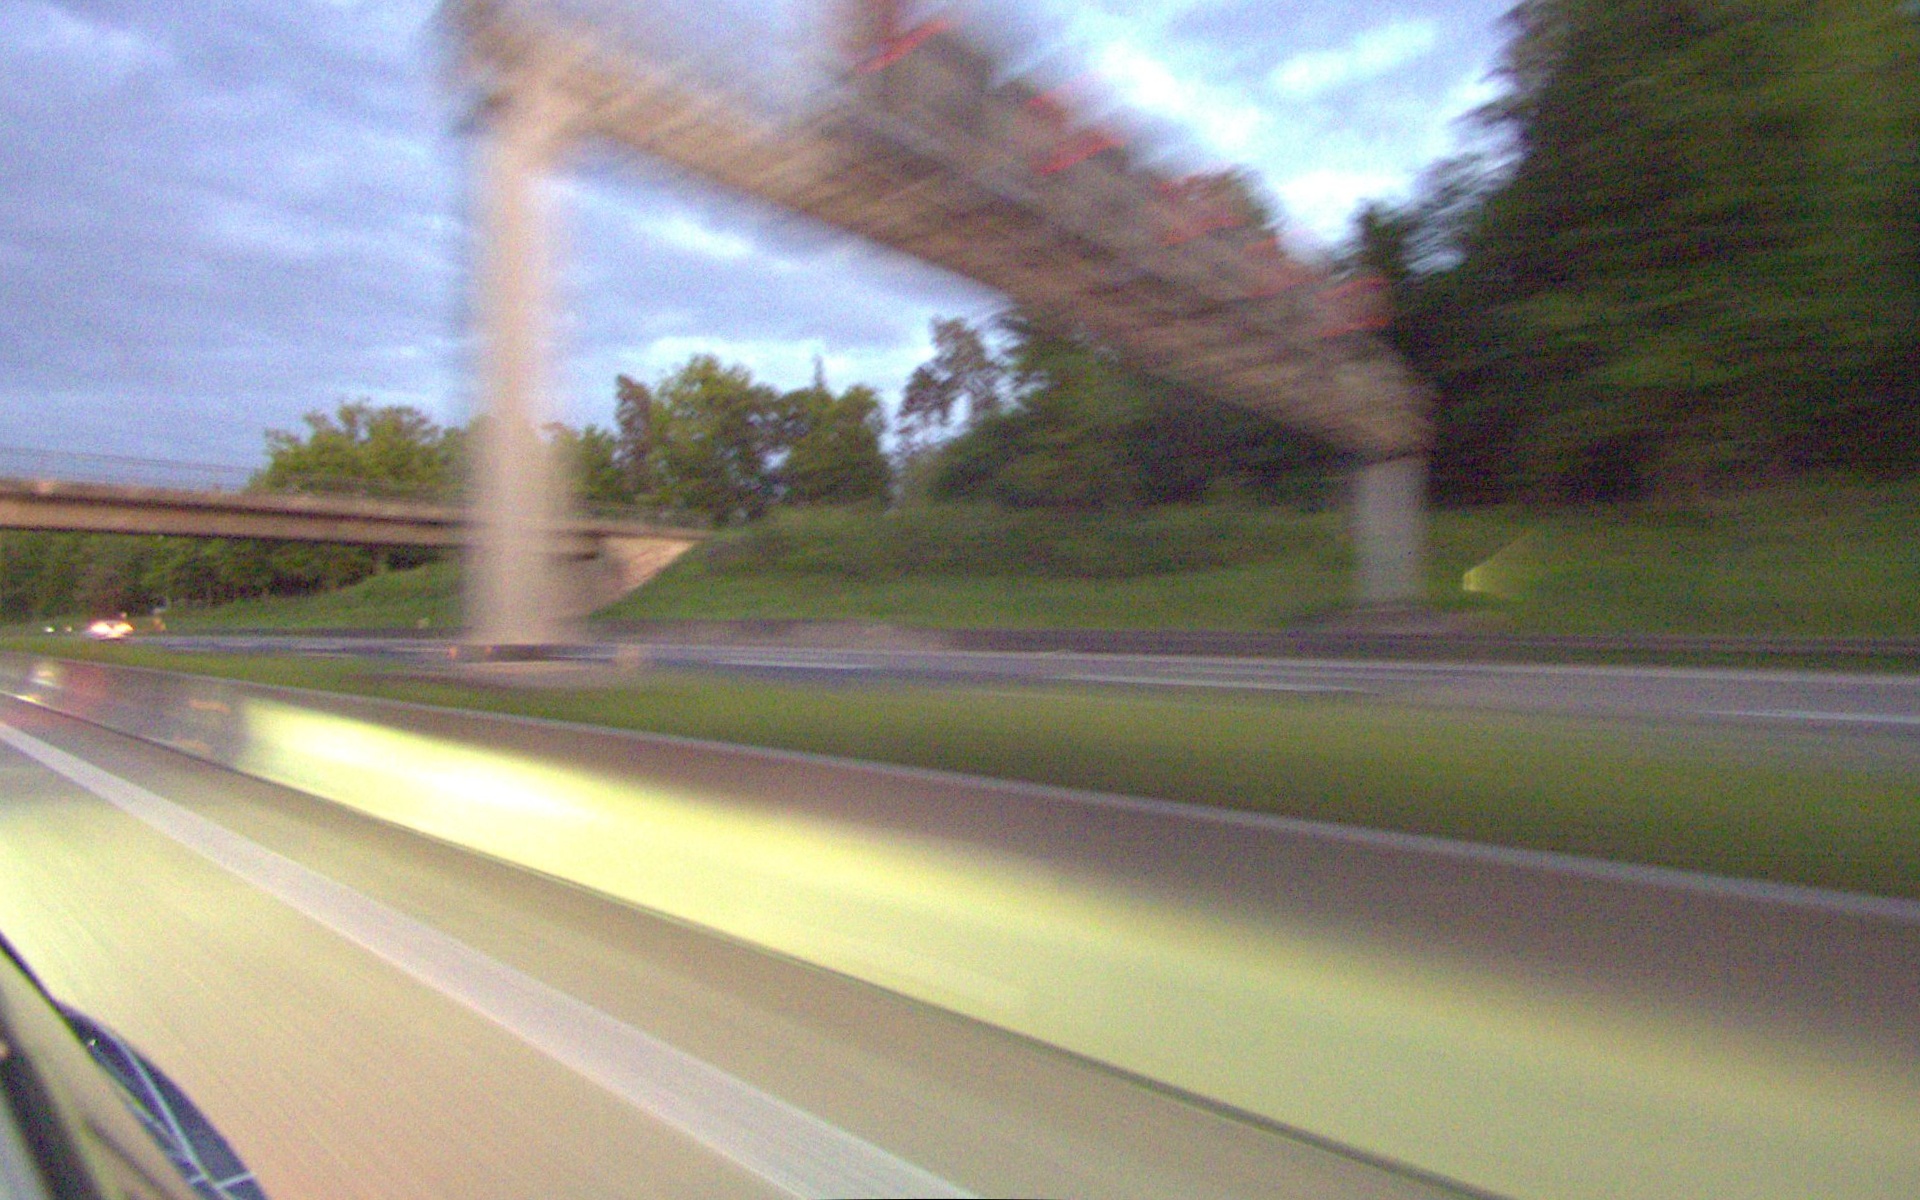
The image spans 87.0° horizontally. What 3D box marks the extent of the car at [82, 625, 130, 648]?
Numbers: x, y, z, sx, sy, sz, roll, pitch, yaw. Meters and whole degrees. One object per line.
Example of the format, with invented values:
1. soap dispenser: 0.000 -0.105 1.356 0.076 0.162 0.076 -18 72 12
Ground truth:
1. car: -60.627 2.599 71.827 4.425 1.532 1.793 -3 -2 39
